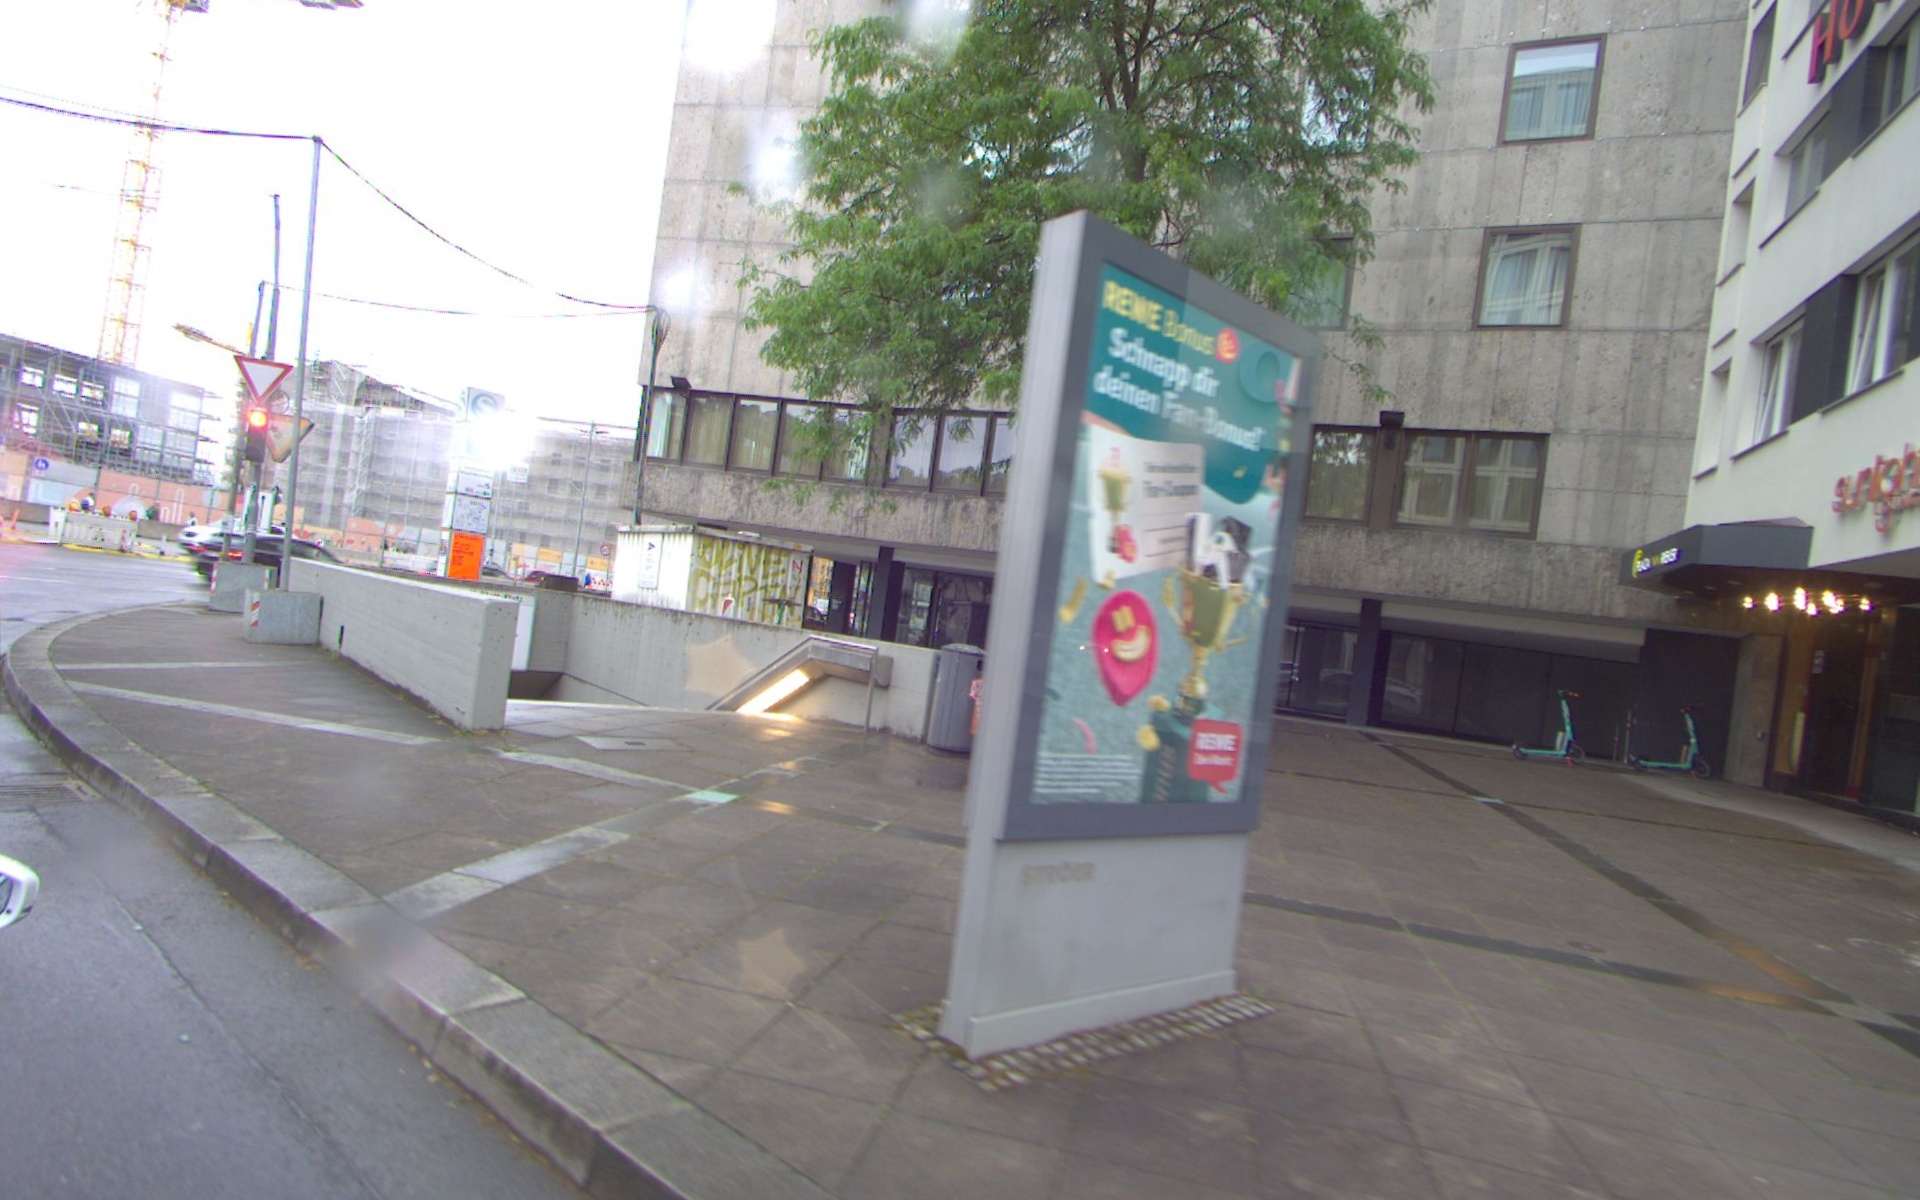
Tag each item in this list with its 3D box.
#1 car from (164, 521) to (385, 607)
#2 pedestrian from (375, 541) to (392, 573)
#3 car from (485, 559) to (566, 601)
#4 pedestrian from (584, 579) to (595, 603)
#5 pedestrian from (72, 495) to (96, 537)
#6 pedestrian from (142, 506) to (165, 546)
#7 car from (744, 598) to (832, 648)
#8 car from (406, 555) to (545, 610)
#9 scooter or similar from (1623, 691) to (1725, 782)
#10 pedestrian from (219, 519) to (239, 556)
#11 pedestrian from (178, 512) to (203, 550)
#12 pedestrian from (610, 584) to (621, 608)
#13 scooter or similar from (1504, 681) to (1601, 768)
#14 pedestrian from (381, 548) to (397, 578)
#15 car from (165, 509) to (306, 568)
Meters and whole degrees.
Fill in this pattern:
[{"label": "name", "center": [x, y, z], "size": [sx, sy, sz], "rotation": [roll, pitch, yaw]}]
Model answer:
[{"label": "car", "center": [-17.215, -0.852, 25.518], "size": [1.963, 1.523, 4.115], "rotation": [6, -3, 22]}, {"label": "pedestrian", "center": [-35.418, -2.637, 61.813], "size": [0.355, 1.920, 0.577], "rotation": [6, -2, 22]}, {"label": "car", "center": [-24.240, -1.085, 56.292], "size": [1.962, 1.727, 4.006], "rotation": [6, -3, 15]}, {"label": "pedestrian", "center": [-30.516, -0.724, 82.860], "size": [0.355, 1.920, 0.577], "rotation": [6, -2, 22]}, {"label": "pedestrian", "center": [-42.126, -4.036, 48.383], "size": [0.355, 1.920, 0.577], "rotation": [6, -2, 22]}, {"label": "pedestrian", "center": [-40.820, -3.743, 50.919], "size": [0.355, 1.920, 0.577], "rotation": [6, -2, 22]}, {"label": "car", "center": [-7.107, 1.001, 42.074], "size": [1.962, 1.658, 4.006], "rotation": [6, -3, 16]}, {"label": "car", "center": [-17.334, -0.589, 36.211], "size": [1.964, 1.360, 4.114], "rotation": [6, -3, 25]}, {"label": "scooter or similar", "center": [12.067, 2.289, 17.038], "size": [1.208, 1.352, 0.520], "rotation": [6, -2, 20]}, {"label": "pedestrian", "center": [-40.244, -3.447, 55.389], "size": [0.355, 1.920, 0.577], "rotation": [6, -2, 20]}, {"label": "pedestrian", "center": [-42.303, -3.784, 55.324], "size": [0.620, 1.923, 0.658], "rotation": [6, -2, 19]}, {"label": "pedestrian", "center": [-28.829, -0.367, 84.245], "size": [0.355, 1.920, 0.577], "rotation": [6, -2, 22]}, {"label": "scooter or similar", "center": [10.038, 2.102, 17.082], "size": [1.208, 1.269, 0.564], "rotation": [6, 1, 20]}, {"label": "pedestrian", "center": [-37.605, -2.430, 66.252], "size": [0.355, 1.920, 0.577], "rotation": [6, -2, 22]}, {"label": "car", "center": [-28.199, -2.367, 39.321], "size": [1.962, 1.569, 4.060], "rotation": [7, -3, 13]}]
